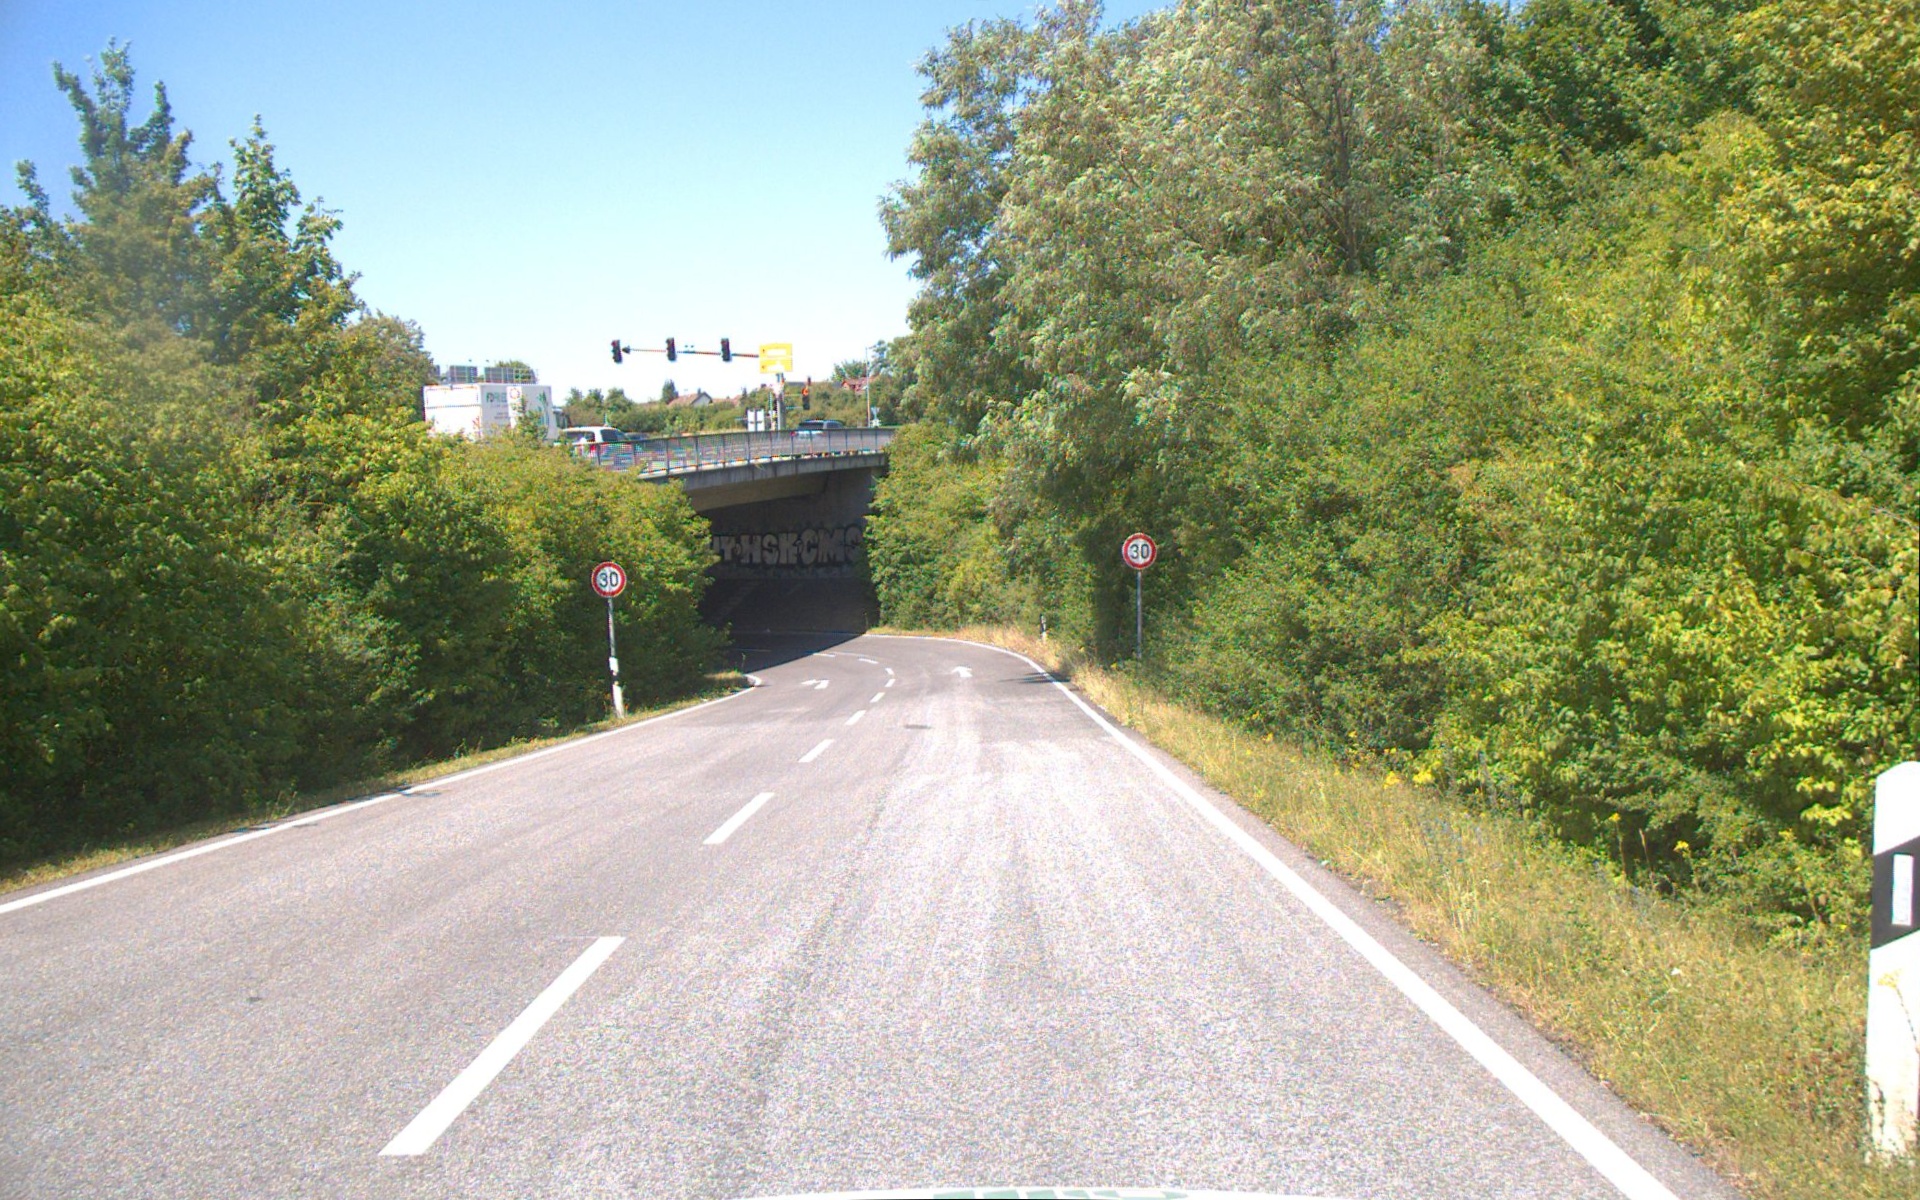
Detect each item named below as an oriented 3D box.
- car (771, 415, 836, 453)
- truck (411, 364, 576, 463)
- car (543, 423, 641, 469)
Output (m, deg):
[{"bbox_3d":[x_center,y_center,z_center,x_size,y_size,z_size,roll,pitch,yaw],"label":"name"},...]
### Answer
[{"bbox_3d":[-6.979,-7.408,74.032,1.951,1.445,4.005,-3,3,8],"label":"car"},{"bbox_3d":[-19.937,-7.916,71.418,2.962,3.650,8.915,-3,3,11],"label":"truck"},{"bbox_3d":[-11.258,-4.705,50.808,1.577,1.210,3.484,-3,3,12],"label":"car"}]
